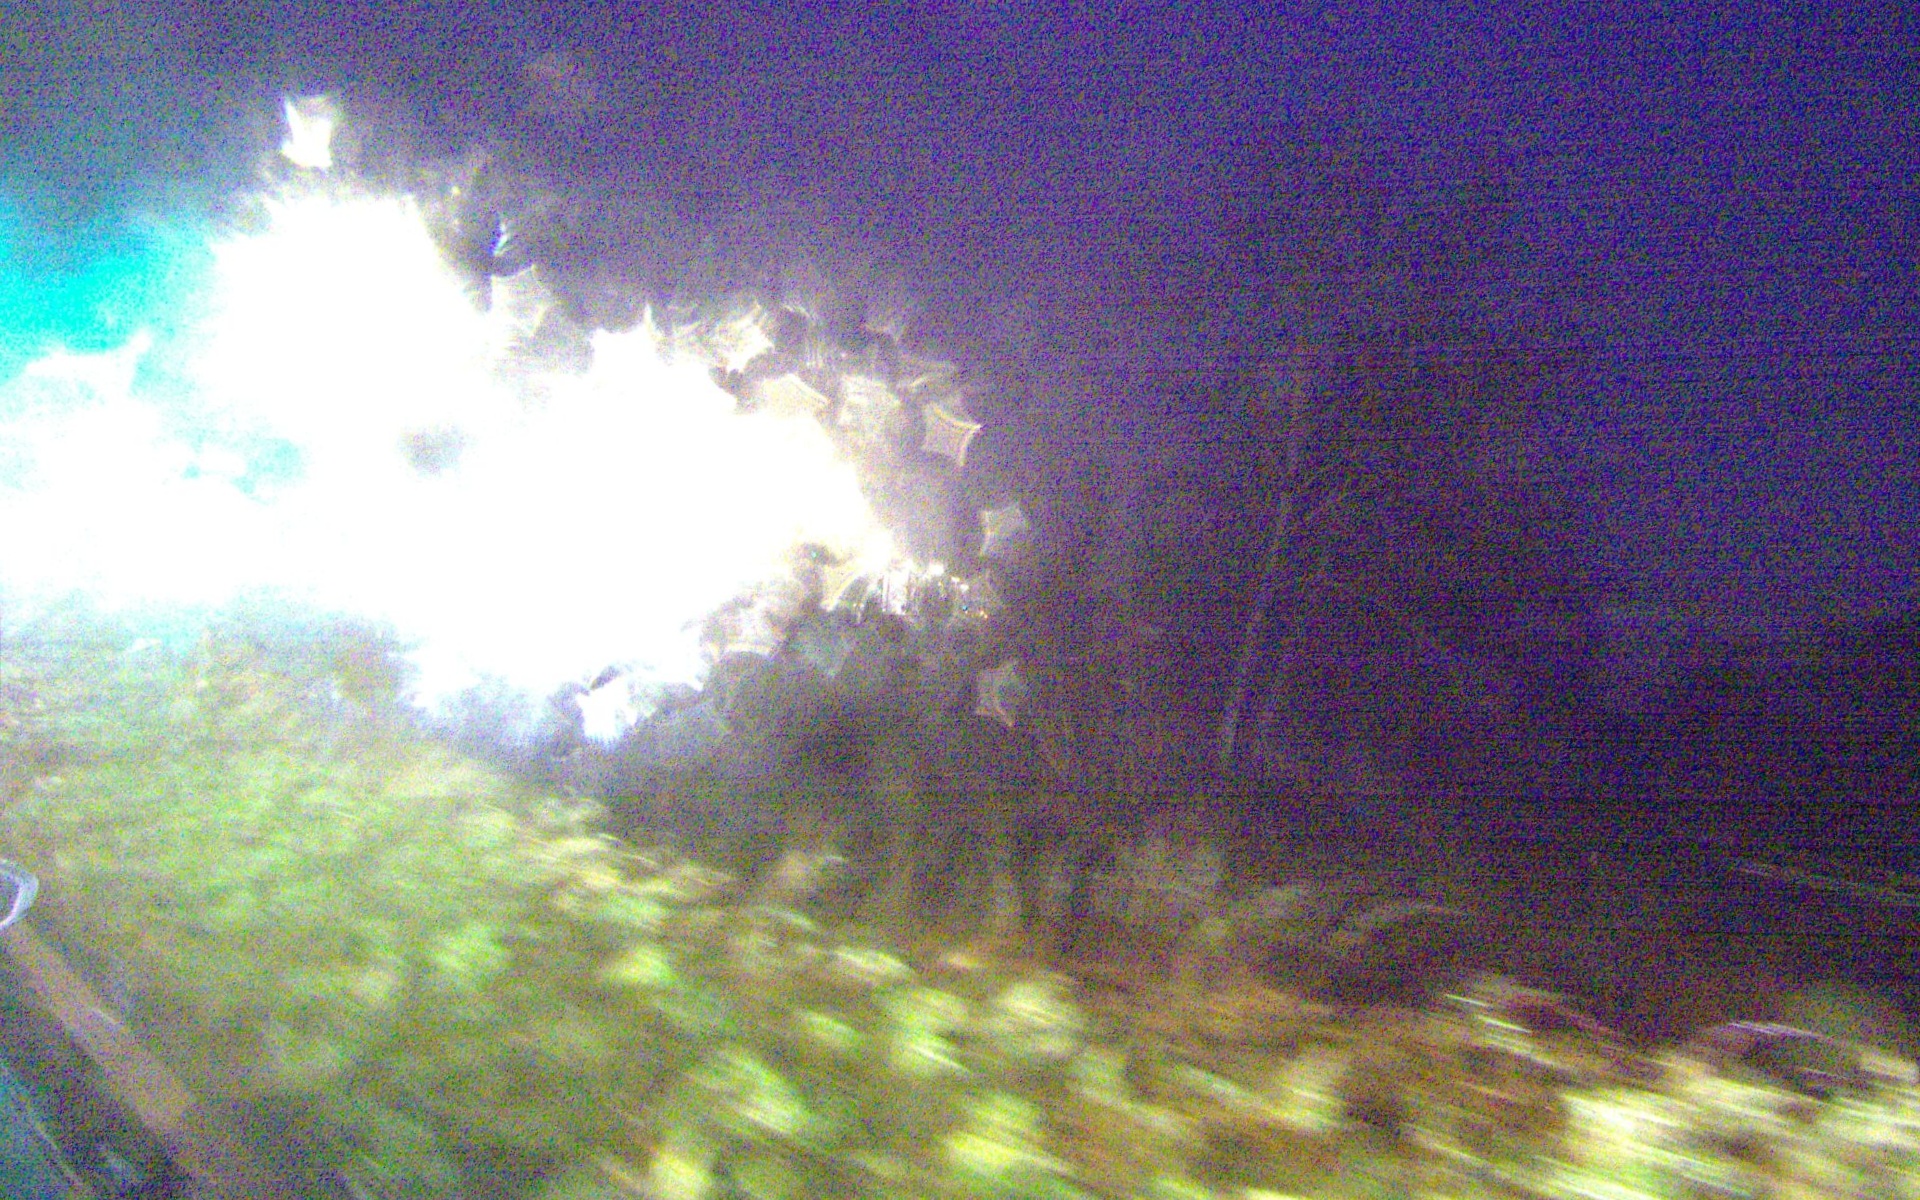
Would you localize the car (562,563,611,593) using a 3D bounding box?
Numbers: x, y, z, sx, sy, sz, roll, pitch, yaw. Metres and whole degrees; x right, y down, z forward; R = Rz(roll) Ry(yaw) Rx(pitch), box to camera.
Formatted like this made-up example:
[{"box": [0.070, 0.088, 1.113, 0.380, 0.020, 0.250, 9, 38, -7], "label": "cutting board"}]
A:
[{"box": [-28.384, -1.659, 76.574, 1.770, 1.684, 4.494, 7, -3, 2], "label": "car"}]

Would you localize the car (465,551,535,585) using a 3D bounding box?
[{"box": [-26.840, -1.855, 58.877, 1.784, 1.597, 4.308, 5, -1, 4], "label": "car"}]

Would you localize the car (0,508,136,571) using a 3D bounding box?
[{"box": [-31.686, -2.102, 35.414, 1.770, 1.685, 3.981, 6, -2, 5], "label": "car"}]

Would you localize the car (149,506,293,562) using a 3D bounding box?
[{"box": [-27.817, -2.444, 38.062, 1.749, 1.502, 4.414, 8, 0, 6], "label": "car"}]

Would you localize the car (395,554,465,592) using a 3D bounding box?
[{"box": [-32.918, -1.636, 62.557, 1.794, 1.869, 4.006, 6, -3, 5], "label": "car"}]
